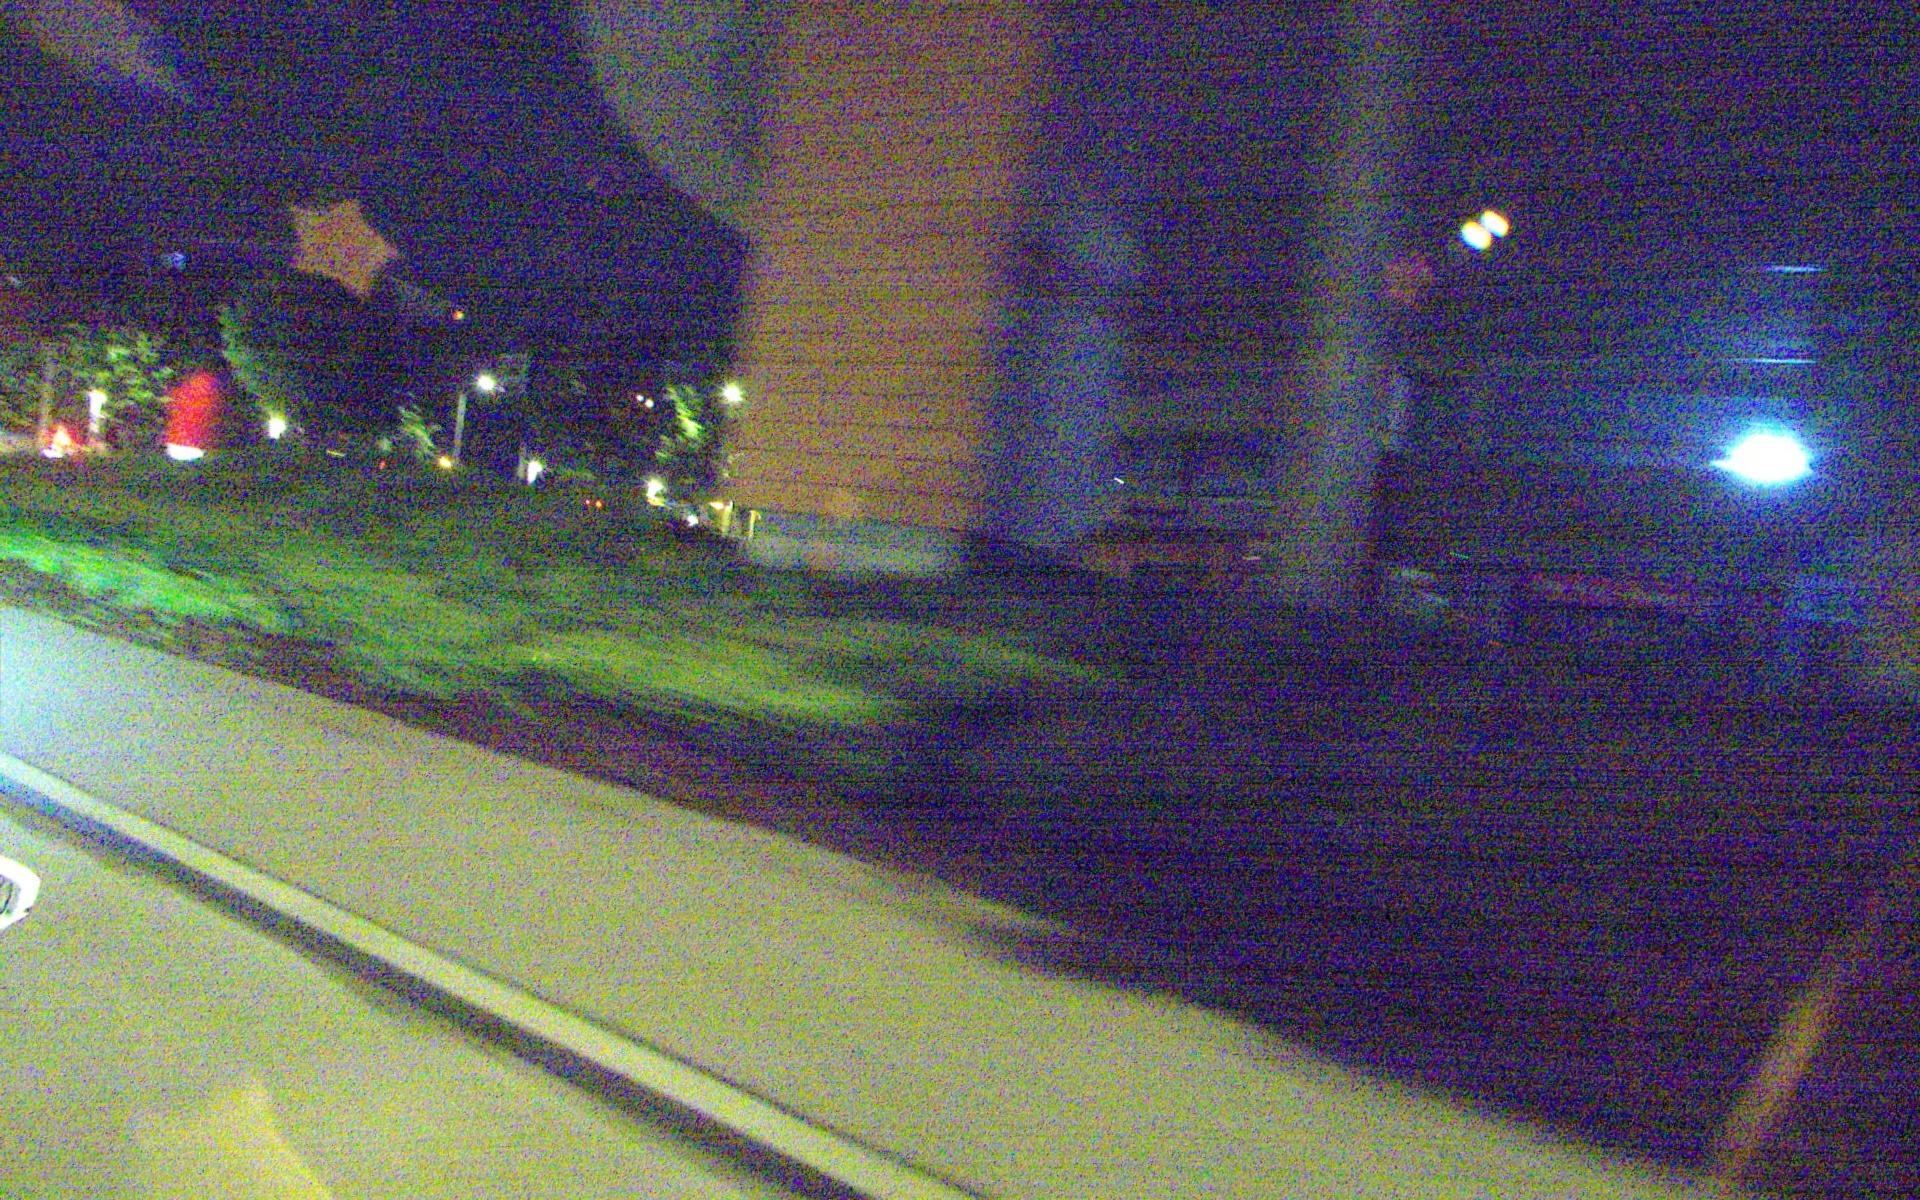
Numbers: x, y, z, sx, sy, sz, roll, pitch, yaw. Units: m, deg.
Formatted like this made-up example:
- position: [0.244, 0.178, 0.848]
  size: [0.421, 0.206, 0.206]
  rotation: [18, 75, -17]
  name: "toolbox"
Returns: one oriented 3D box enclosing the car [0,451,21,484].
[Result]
- position: [-52.323, -7.208, 52.938]
  size: [1.841, 1.638, 4.051]
  rotation: [8, 4, 38]
  name: "car"
